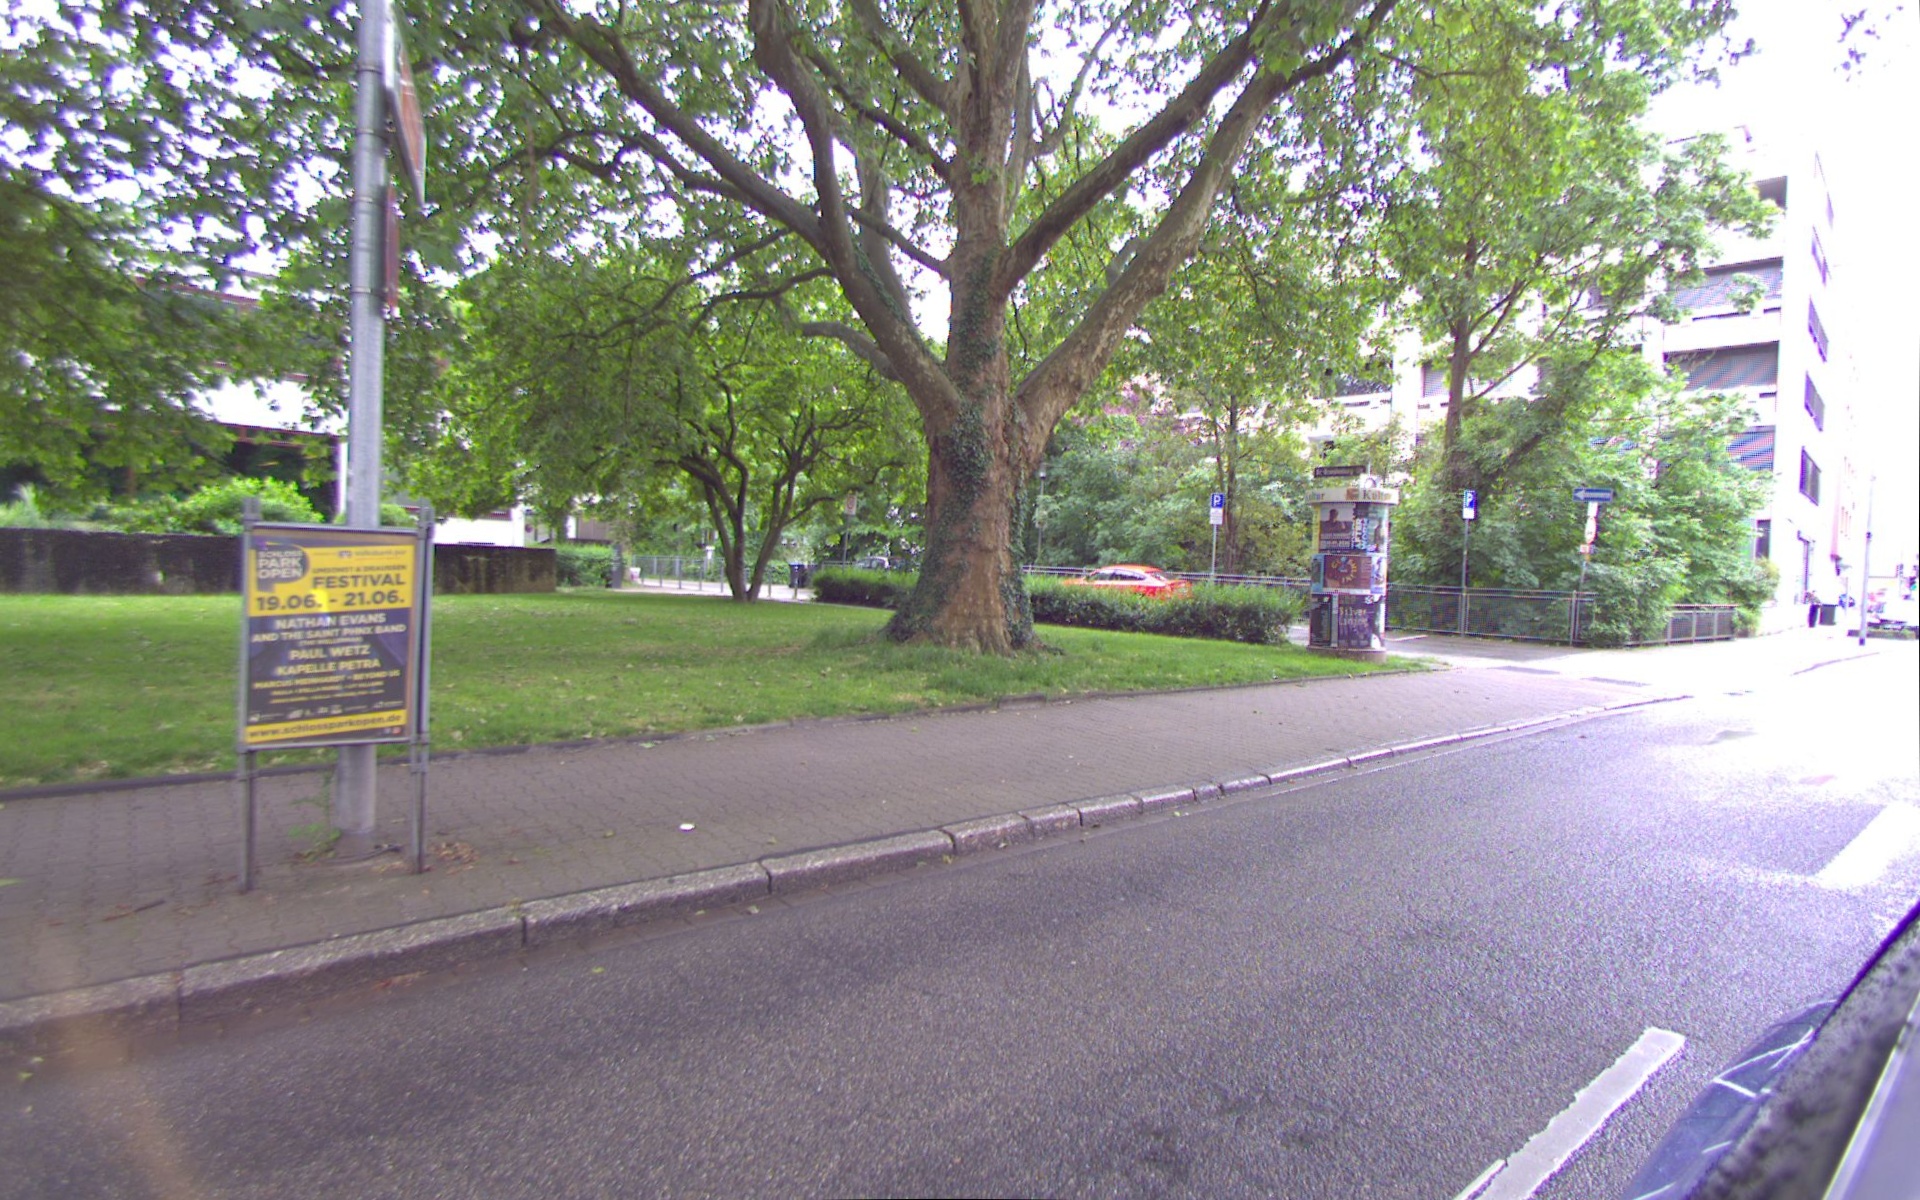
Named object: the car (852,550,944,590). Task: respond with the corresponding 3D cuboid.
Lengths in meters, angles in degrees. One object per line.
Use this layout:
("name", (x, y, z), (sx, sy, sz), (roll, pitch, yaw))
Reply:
("car", (-2.305, -1.129, 37.326), (3.460, 1.294, 1.426), (5, 4, 45))

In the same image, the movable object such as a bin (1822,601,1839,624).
("movable object such as a bin", (41.922, 0.615, 48.722), (0.287, 1.054, 0.556), (0, 3, -41))

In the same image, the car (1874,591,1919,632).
("car", (37.415, 0.452, 39.749), (3.617, 1.449, 1.681), (0, 6, -41))

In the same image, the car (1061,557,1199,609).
("car", (4.903, -0.536, 29.527), (1.551, 1.294, 3.784), (-1, 4, -44))

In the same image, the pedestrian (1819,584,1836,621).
("pedestrian", (36.427, 0.106, 42.509), (0.473, 1.549, 0.480), (0, 0, -41))
